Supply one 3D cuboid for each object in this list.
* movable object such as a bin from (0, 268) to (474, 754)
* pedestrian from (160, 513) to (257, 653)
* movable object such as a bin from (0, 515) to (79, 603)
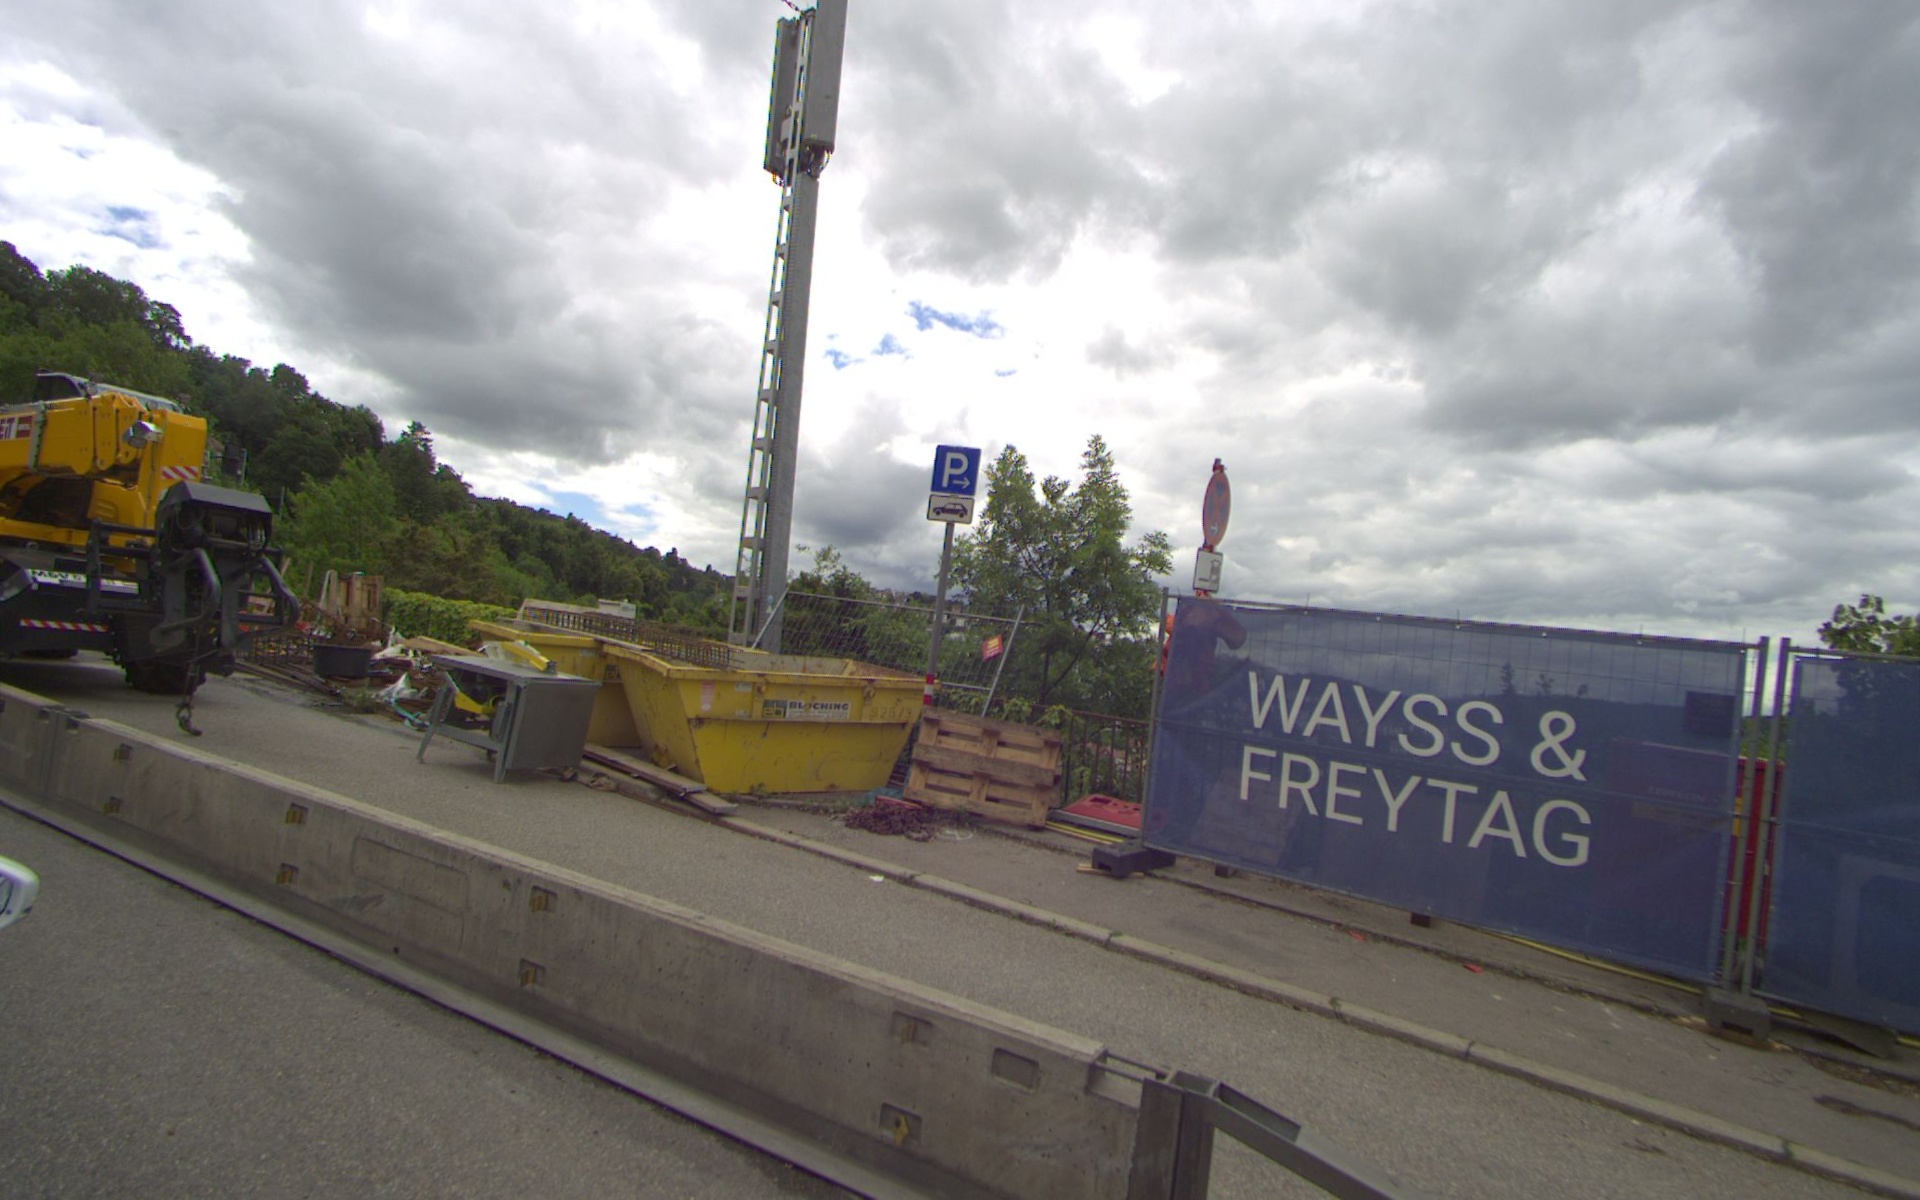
[{"bbox_3d":[-8.446,-0.769,9.534,7.692,3.104,2.819,6,-3,31],"label":"movable object such as a bin"},{"bbox_3d":[-10.362,-0.221,13.886,0.530,1.815,0.691,7,-1,22],"label":"pedestrian"},{"bbox_3d":[-21.660,-1.160,21.453,6.984,1.578,2.379,6,-4,33],"label":"movable object such as a bin"}]
